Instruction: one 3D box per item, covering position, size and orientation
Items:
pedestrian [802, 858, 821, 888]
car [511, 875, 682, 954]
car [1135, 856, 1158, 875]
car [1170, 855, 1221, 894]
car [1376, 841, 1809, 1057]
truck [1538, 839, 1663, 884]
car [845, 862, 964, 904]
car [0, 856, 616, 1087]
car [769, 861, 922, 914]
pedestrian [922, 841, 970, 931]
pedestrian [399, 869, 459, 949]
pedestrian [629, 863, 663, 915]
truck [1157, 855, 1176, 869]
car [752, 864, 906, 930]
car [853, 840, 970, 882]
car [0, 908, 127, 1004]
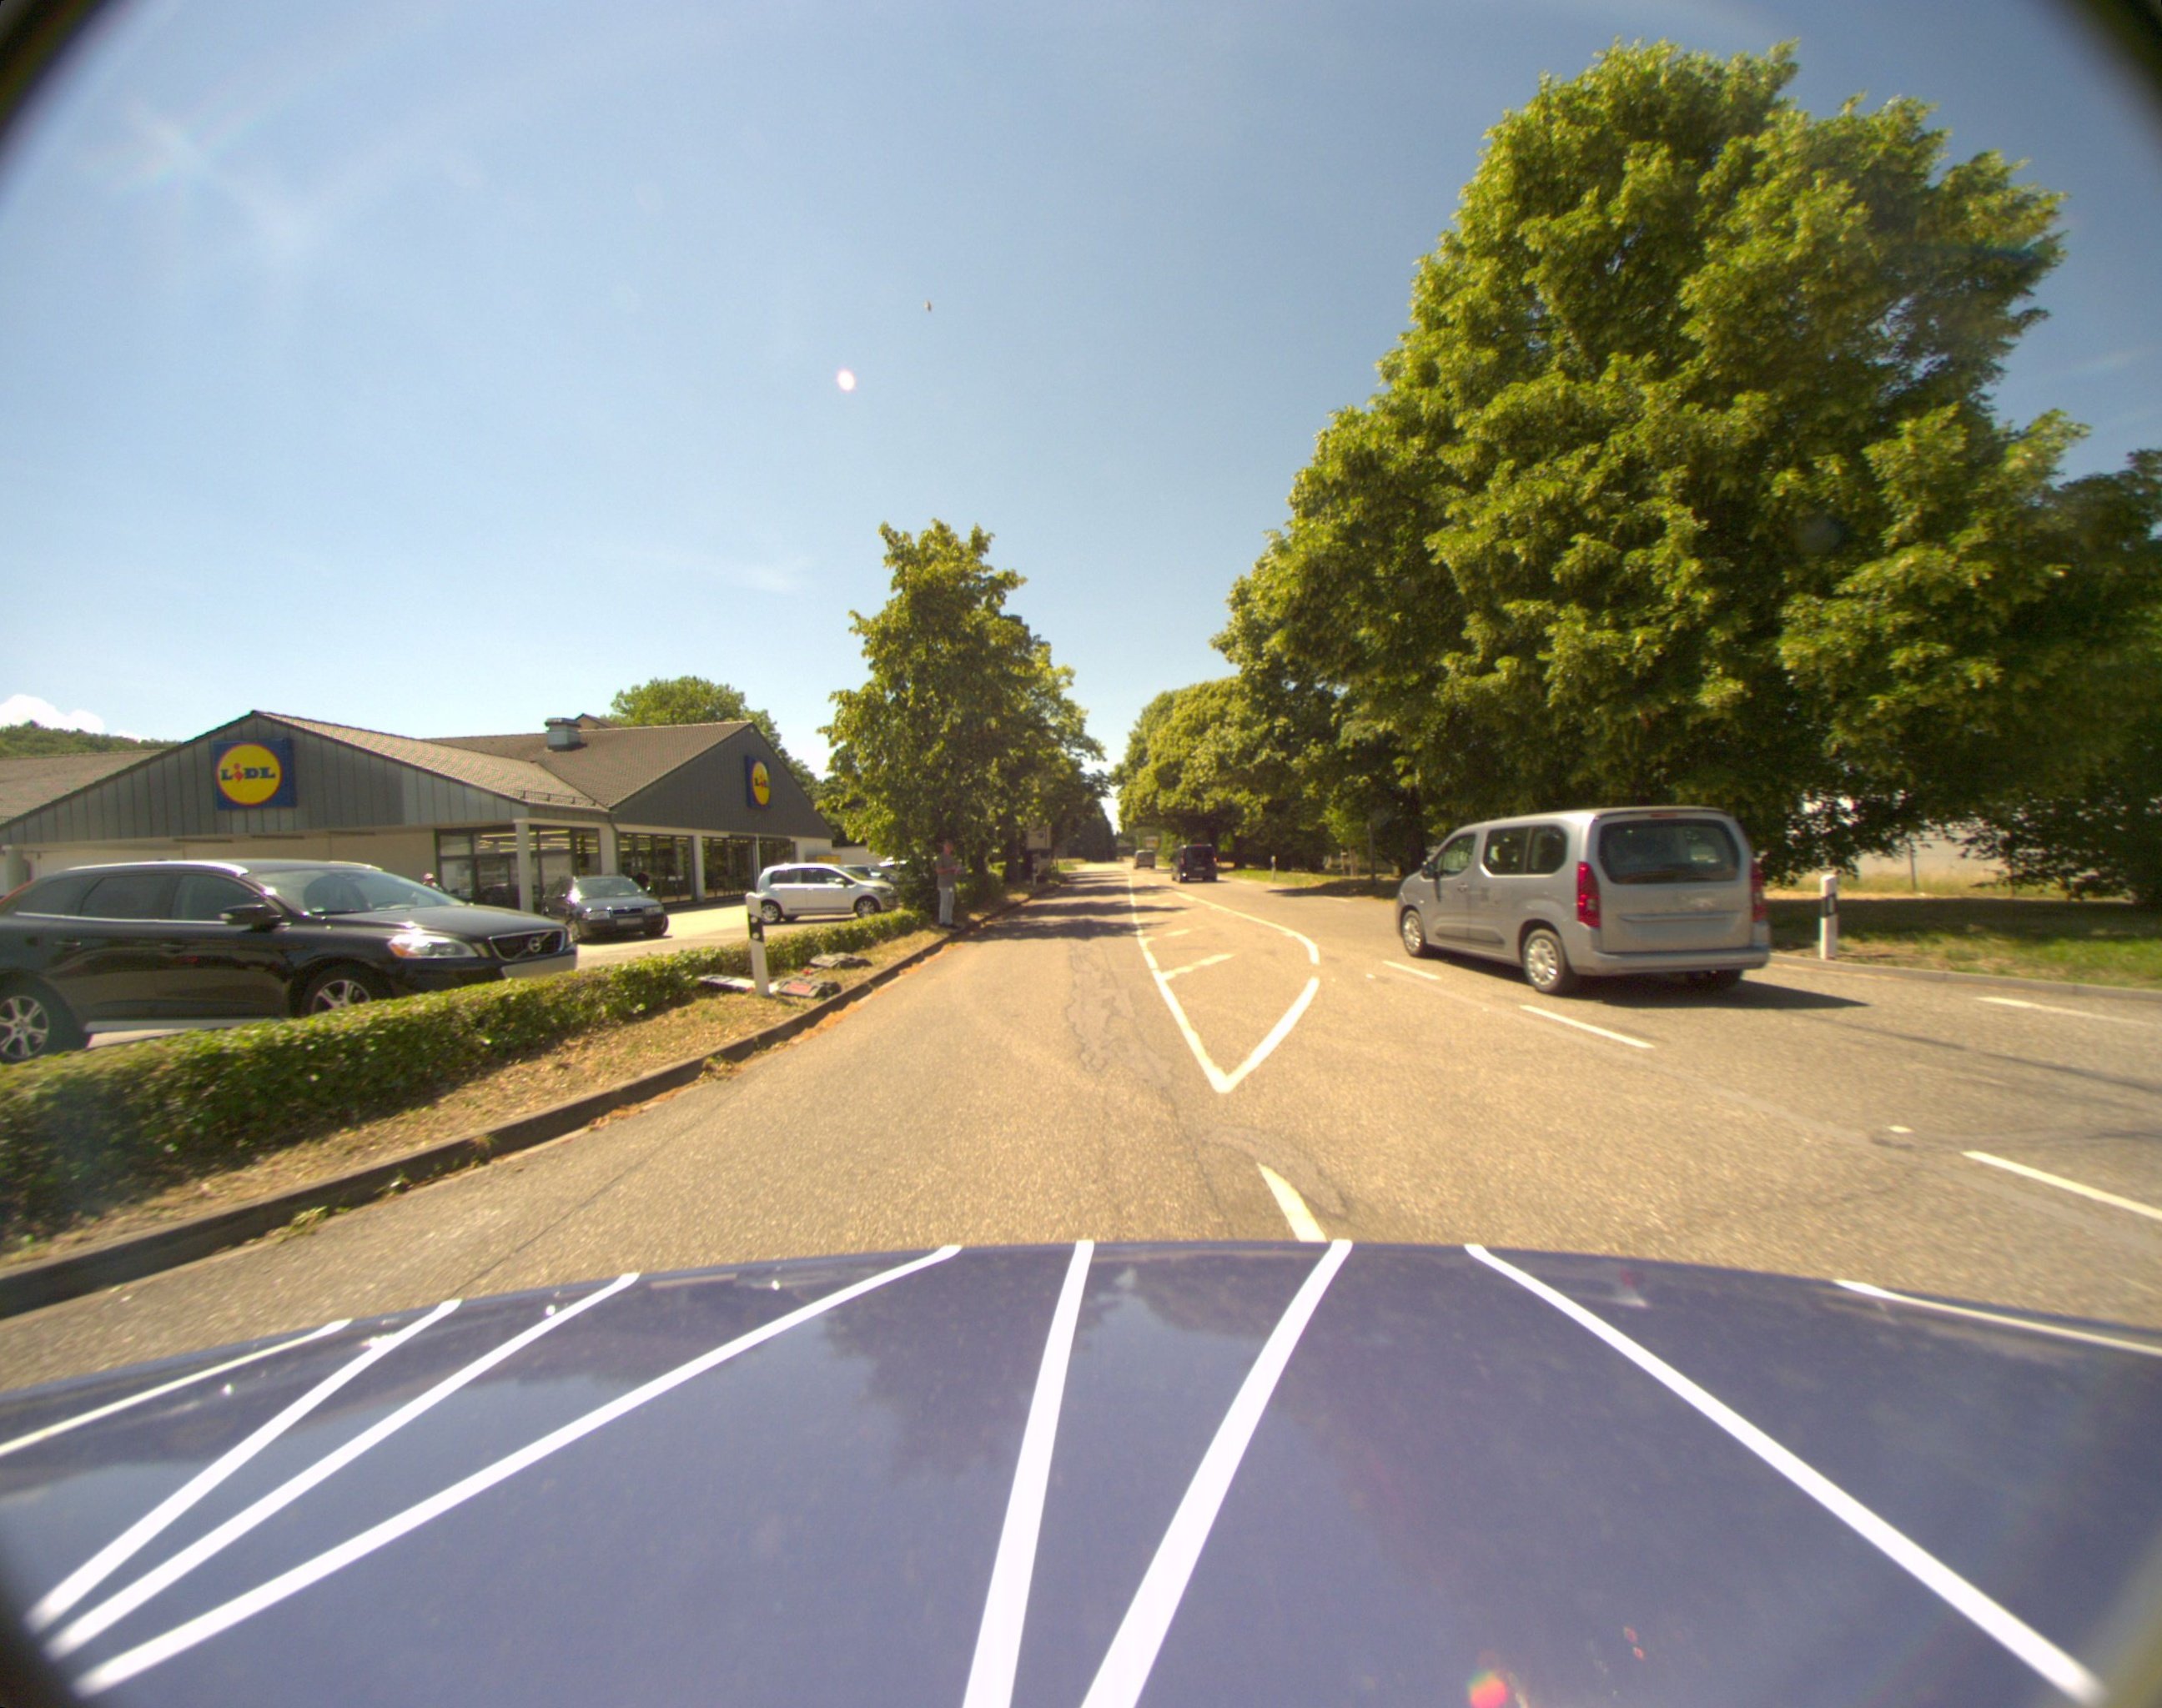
[{"bbox_3d":[-15.520,1.087,43.719,0.762,1.731,0.698,-2,1,3],"label":"pedestrian"},{"bbox_3d":[-10.995,1.328,17.151,4.289,1.495,1.749,-3,0,36],"label":"car"},{"bbox_3d":[6.476,1.114,75.606,1.882,1.823,5.299,-2,0,1],"label":"car"},{"bbox_3d":[5.559,0.947,37.516,1.828,1.771,4.782,-1,0,0],"label":"car"},{"bbox_3d":[5.167,0.814,8.582,1.801,1.762,4.363,-2,0,-2],"label":"car"},{"bbox_3d":[36.650,0.502,54.221,2.691,2.780,10.163,-3,-1,6],"label":"truck"},{"bbox_3d":[-6.911,1.135,30.052,4.242,1.402,1.953,-3,0,-3],"label":"car"},{"bbox_3d":[-7.020,0.943,6.812,4.524,1.658,1.895,-3,0,4],"label":"car"},{"bbox_3d":[-7.473,1.040,24.439,4.322,1.472,1.809,-2,0,-3],"label":"car"},{"bbox_3d":[-2.735,0.638,15.448,0.730,1.778,0.621,-2,1,8],"label":"pedestrian"},{"bbox_3d":[-17.029,1.413,19.868,0.784,2.002,0.803,-2,1,-2],"label":"pedestrian"},{"bbox_3d":[-15.006,1.190,26.229,0.699,1.743,0.784,-2,1,-6],"label":"pedestrian"},{"bbox_3d":[16.229,1.475,143.920,2.301,2.450,5.349,-2,0,20],"label":"truck"},{"bbox_3d":[-6.357,1.071,19.446,3.407,1.497,1.582,-2,0,-3],"label":"car"},{"bbox_3d":[-7.738,0.318,35.047,4.861,1.666,2.000,-3,0,-1],"label":"car"},{"bbox_3d":[-18.872,1.756,12.712,3.606,1.408,1.671,-3,0,0],"label":"car"}]
